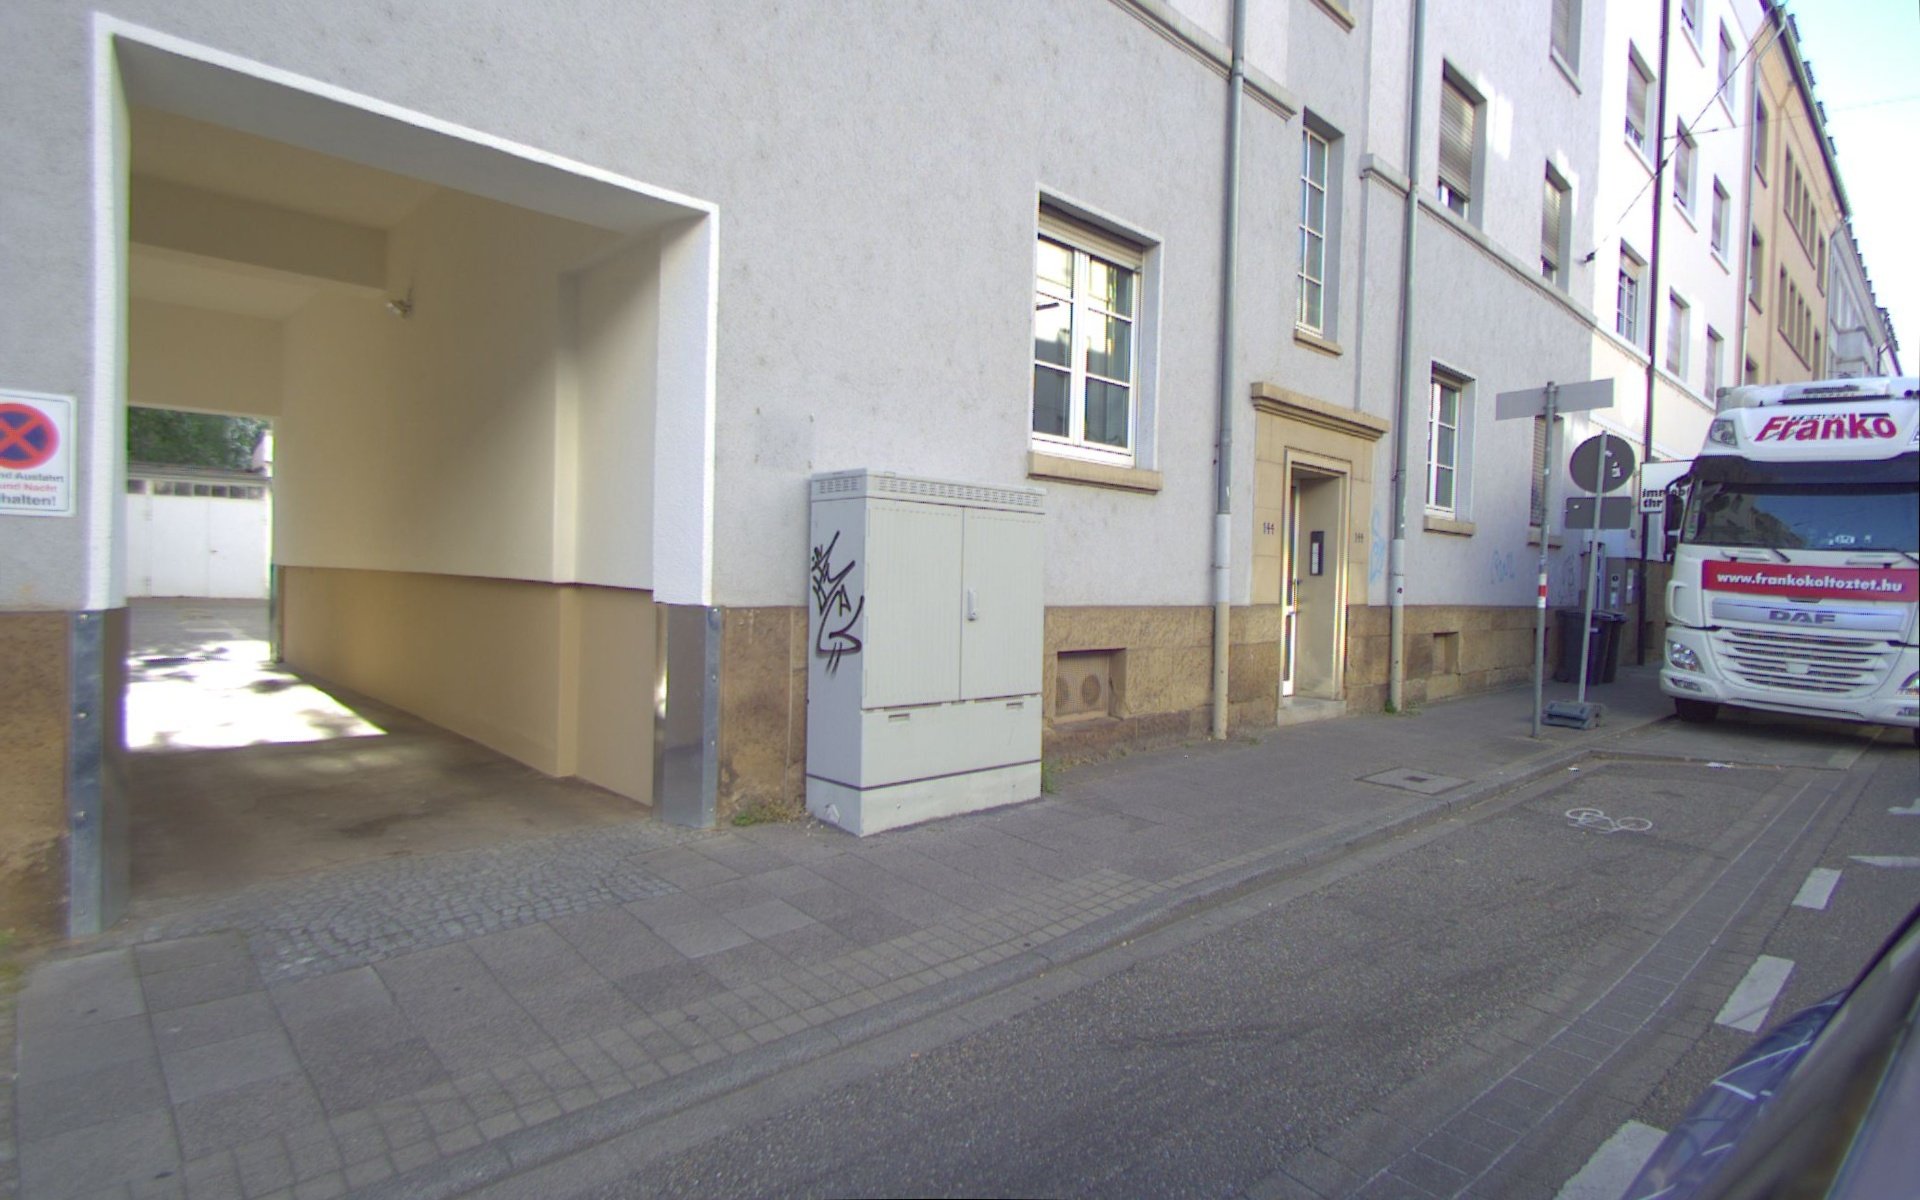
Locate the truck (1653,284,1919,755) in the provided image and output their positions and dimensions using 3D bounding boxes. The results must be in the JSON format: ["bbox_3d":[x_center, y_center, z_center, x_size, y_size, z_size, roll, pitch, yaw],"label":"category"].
[{"bbox_3d":[12.534,-0.856,13.656,11.579,4.290,2.697,-1,3,-43],"label":"truck"}]

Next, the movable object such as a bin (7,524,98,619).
[{"bbox_3d":[-15.142,-0.457,16.918,1.091,1.512,1.328,0,0,-41],"label":"movable object such as a bin"}]
